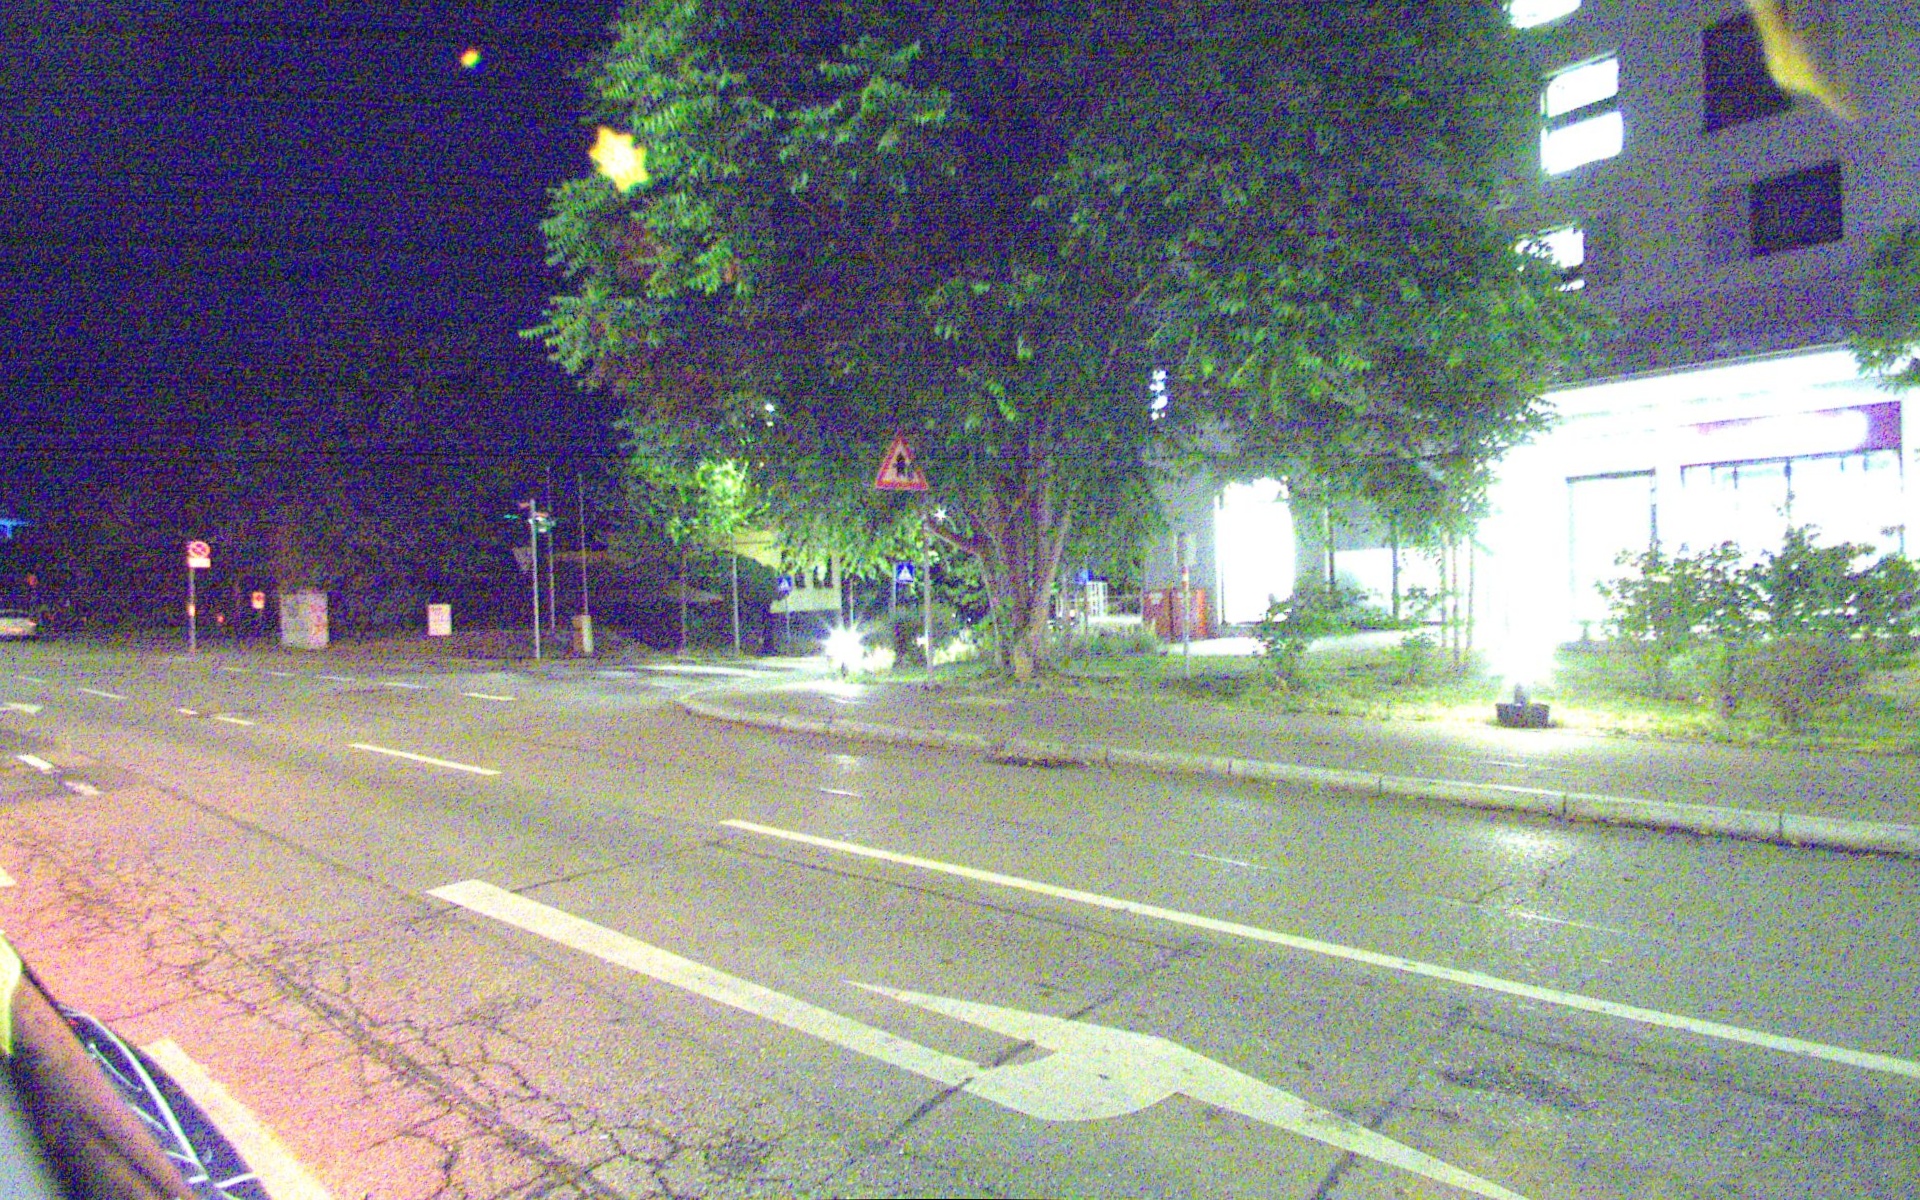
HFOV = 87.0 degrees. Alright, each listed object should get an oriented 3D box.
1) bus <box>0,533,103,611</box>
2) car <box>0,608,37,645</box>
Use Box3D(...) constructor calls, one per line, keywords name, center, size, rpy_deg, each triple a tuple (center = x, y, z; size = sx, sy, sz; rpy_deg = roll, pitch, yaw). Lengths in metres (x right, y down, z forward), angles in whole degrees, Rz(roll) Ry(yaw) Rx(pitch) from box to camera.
Box3D(name="bus", center=(-88.518, -2.455, 98.217), size=(14.776, 6.990, 6.056), rpy_deg=(-1, 0, 41))
Box3D(name="car", center=(-43.192, 1.186, 45.637), size=(3.996, 1.604, 1.784), rpy_deg=(-1, 0, 39))
